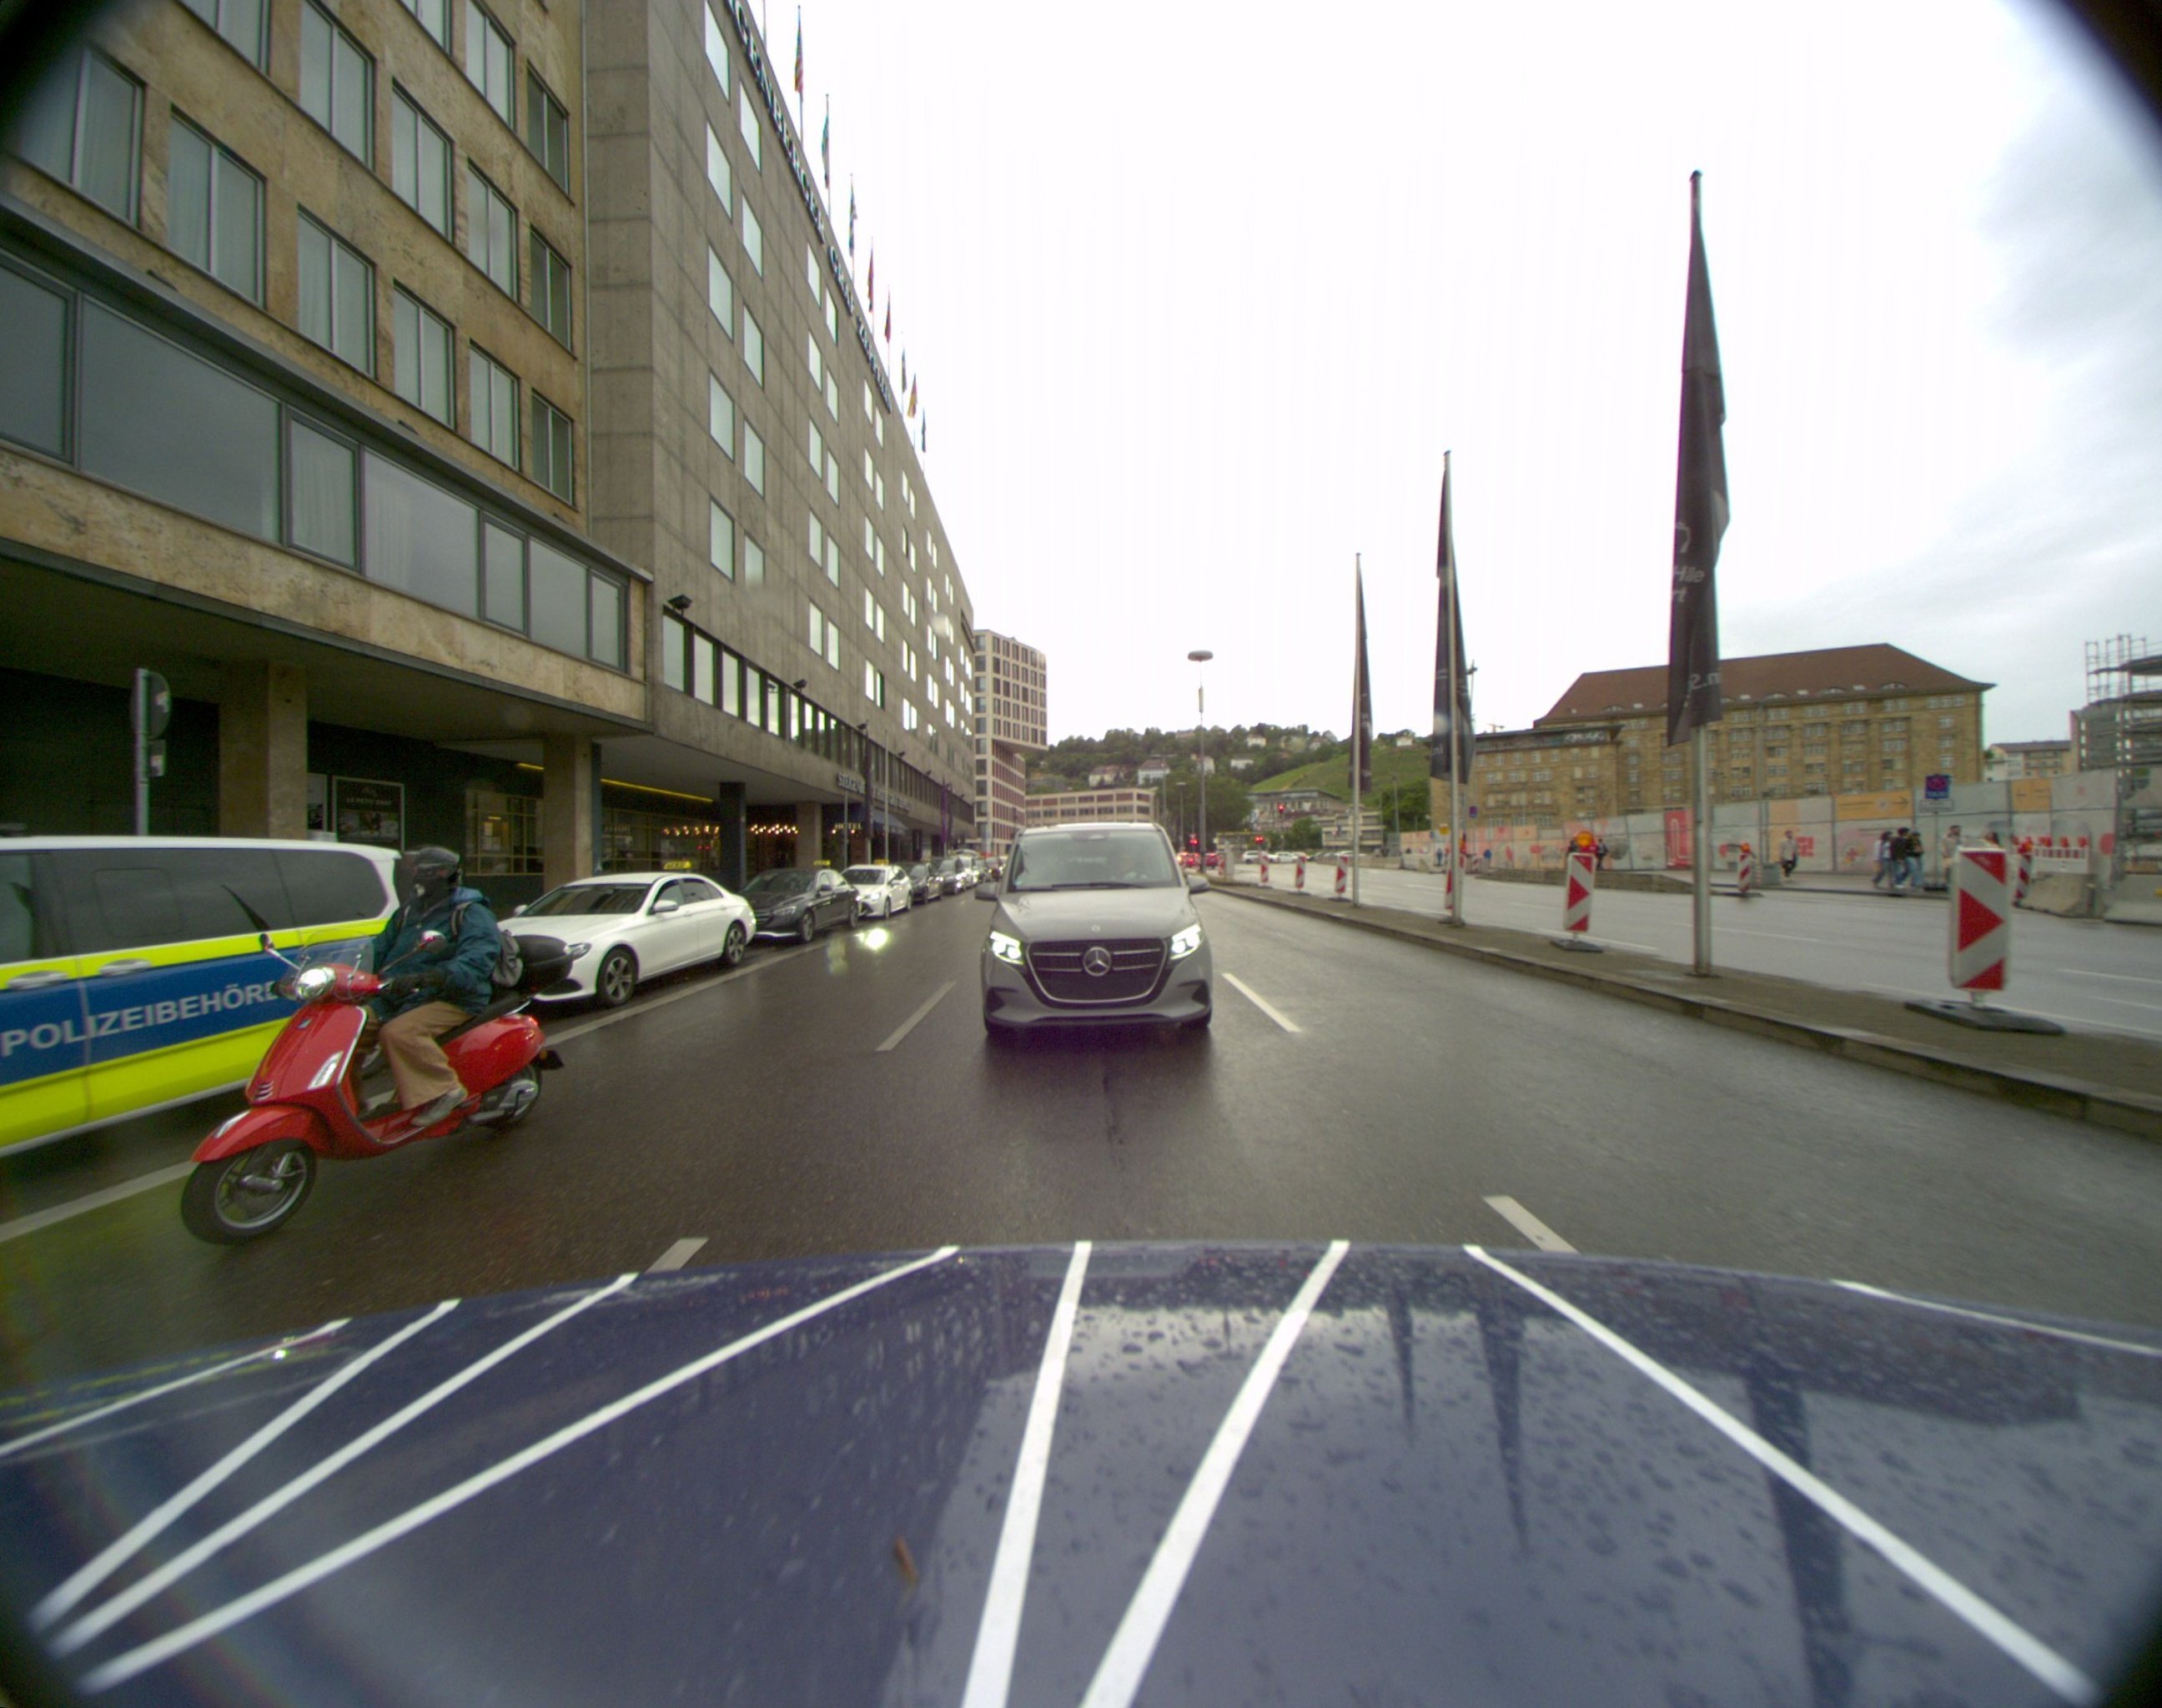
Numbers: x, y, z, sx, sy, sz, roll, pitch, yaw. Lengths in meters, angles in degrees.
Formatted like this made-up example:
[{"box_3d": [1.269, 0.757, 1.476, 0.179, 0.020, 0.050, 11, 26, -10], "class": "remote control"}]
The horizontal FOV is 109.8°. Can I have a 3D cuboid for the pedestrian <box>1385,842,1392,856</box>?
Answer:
[{"box_3d": [34.872, -0.549, 86.171, 0.714, 1.606, 0.545, -2, 1, 25], "class": "pedestrian"}]

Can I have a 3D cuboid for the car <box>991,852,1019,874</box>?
[{"box_3d": [-5.937, 0.669, 60.044, 1.731, 1.604, 4.001, -2, 1, 0], "class": "car"}]

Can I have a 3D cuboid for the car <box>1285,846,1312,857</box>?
[{"box_3d": [35.170, -0.440, 122.875, 3.993, 1.622, 2.002, -1, 0, 14], "class": "car"}]

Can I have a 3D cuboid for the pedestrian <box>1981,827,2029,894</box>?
[{"box_3d": [25.653, 0.168, 21.103, 0.661, 1.825, 0.556, -2, 1, 21], "class": "pedestrian"}]

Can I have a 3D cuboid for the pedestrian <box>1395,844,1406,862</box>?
[{"box_3d": [29.140, -0.102, 69.312, 0.715, 1.606, 0.544, -2, 1, 1], "class": "pedestrian"}]

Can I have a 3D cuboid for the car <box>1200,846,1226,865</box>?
[{"box_3d": [12.686, 0.117, 73.079, 1.785, 1.684, 3.916, -1, 1, 0], "class": "car"}]

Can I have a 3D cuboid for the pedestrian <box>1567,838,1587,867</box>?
[{"box_3d": [27.798, -0.103, 42.580, 0.715, 1.606, 0.544, -2, 1, 1], "class": "pedestrian"}]

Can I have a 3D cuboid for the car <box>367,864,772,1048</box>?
[{"box_3d": [-6.091, 1.047, 10.047, 1.879, 1.628, 5.010, -2, 1, 0], "class": "car"}]

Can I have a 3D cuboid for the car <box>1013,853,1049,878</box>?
[{"box_3d": [-3.415, 0.746, 52.272, 2.089, 1.540, 4.587, -2, 1, 0], "class": "car"}]

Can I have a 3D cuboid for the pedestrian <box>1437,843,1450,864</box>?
[{"box_3d": [27.651, -0.037, 57.976, 0.715, 1.606, 0.544, -2, 1, 1], "class": "pedestrian"}]

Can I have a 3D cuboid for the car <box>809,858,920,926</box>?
[{"box_3d": [-6.048, 0.980, 21.858, 1.731, 1.583, 4.813, -2, 1, 0], "class": "car"}]

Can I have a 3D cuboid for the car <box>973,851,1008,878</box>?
[{"box_3d": [-5.898, 0.668, 49.724, 1.731, 1.604, 4.001, -2, 1, 0], "class": "car"}]

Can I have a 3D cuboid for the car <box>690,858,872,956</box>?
[{"box_3d": [-6.077, 0.968, 16.130, 1.879, 1.628, 4.813, -2, 1, 0], "class": "car"}]

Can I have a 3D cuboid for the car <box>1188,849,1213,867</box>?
[{"box_3d": [12.327, 0.394, 78.578, 1.785, 1.684, 3.915, -2, 1, -1], "class": "car"}]

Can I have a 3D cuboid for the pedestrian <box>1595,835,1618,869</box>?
[{"box_3d": [25.971, -0.105, 37.550, 0.715, 1.606, 0.544, -2, 1, 1], "class": "pedestrian"}]

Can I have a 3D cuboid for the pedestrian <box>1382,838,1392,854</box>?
[{"box_3d": [30.308, -0.786, 75.316, 0.715, 1.606, 0.544, -2, 1, 5], "class": "pedestrian"}]

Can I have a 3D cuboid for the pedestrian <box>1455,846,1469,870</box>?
[{"box_3d": [27.125, 0.281, 54.103, 0.715, 1.606, 0.544, -2, 1, 1], "class": "pedestrian"}]

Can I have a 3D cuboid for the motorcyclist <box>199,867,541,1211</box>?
[{"box_3d": [-3.532, 0.854, 3.880, 0.861, 1.519, 0.844, -2, 1, 1], "class": "motorcyclist"}]

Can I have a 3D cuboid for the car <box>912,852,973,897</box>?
[{"box_3d": [-6.067, 0.829, 33.843, 1.731, 1.732, 4.813, -2, 1, 0], "class": "car"}]

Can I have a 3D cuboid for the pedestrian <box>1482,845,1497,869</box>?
[{"box_3d": [27.846, 0.229, 51.834, 0.715, 1.606, 0.544, -2, 1, 1], "class": "pedestrian"}]

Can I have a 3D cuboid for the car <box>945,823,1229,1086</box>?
[{"box_3d": [0.082, 0.706, 8.123, 1.998, 1.849, 5.159, -2, 1, 1], "class": "car"}]

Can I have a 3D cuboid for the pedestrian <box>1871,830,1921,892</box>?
[{"box_3d": [23.425, 0.189, 21.854, 0.714, 1.723, 0.718, -2, 1, 19], "class": "pedestrian"}]

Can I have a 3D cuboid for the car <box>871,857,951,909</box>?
[{"box_3d": [-6.055, 0.983, 27.672, 1.731, 1.583, 4.813, -2, 1, 0], "class": "car"}]

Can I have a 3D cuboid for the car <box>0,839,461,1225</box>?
[{"box_3d": [-6.317, 0.911, 4.044, 1.879, 1.909, 4.935, -2, 1, 0], "class": "car"}]

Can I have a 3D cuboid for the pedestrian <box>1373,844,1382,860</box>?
[{"box_3d": [29.422, -0.181, 75.348, 0.715, 1.606, 0.544, -2, 1, 5], "class": "pedestrian"}]

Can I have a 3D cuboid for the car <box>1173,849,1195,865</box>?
[{"box_3d": [11.781, 0.308, 87.006, 1.785, 1.684, 3.915, -2, 1, -1], "class": "car"}]

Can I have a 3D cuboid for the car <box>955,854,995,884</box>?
[{"box_3d": [-6.147, 0.845, 44.547, 1.731, 1.604, 4.001, -2, 1, 0], "class": "car"}]

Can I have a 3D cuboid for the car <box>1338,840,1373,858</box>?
[{"box_3d": [34.672, -0.649, 96.000, 3.992, 2.002, 2.002, -2, 1, 17], "class": "car"}]

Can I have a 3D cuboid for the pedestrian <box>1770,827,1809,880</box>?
[{"box_3d": [25.110, -0.012, 26.936, 0.664, 1.825, 0.720, -2, 1, 1], "class": "pedestrian"}]

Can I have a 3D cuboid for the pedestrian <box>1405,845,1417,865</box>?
[{"box_3d": [28.002, 0.081, 64.530, 0.715, 1.606, 0.544, -2, 1, 1], "class": "pedestrian"}]

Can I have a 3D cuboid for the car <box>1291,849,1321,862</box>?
[{"box_3d": [35.392, 0.189, 119.418, 4.194, 1.846, 1.832, -2, 1, 6], "class": "car"}]

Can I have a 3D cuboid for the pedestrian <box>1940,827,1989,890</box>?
[{"box_3d": [25.013, 0.130, 21.516, 0.714, 1.734, 0.564, -2, 1, 21], "class": "pedestrian"}]

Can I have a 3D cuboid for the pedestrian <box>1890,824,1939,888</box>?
[{"box_3d": [24.494, 0.045, 22.344, 0.714, 1.825, 0.718, -2, 1, 19], "class": "pedestrian"}]

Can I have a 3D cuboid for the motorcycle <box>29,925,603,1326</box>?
[{"box_3d": [-3.521, 1.129, 3.871, 0.848, 1.299, 1.965, -2, 1, 1], "class": "motorcycle"}]

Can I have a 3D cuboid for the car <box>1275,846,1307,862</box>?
[{"box_3d": [28.452, 0.023, 102.911, 3.992, 2.002, 2.002, -2, 1, 17], "class": "car"}]

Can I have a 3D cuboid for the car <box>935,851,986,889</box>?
[{"box_3d": [-6.108, 0.763, 39.039, 1.731, 1.732, 4.813, -2, 1, 0], "class": "car"}]

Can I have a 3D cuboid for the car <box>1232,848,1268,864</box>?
[{"box_3d": [22.534, 0.282, 101.201, 4.394, 2.002, 2.002, -2, 1, 17], "class": "car"}]
